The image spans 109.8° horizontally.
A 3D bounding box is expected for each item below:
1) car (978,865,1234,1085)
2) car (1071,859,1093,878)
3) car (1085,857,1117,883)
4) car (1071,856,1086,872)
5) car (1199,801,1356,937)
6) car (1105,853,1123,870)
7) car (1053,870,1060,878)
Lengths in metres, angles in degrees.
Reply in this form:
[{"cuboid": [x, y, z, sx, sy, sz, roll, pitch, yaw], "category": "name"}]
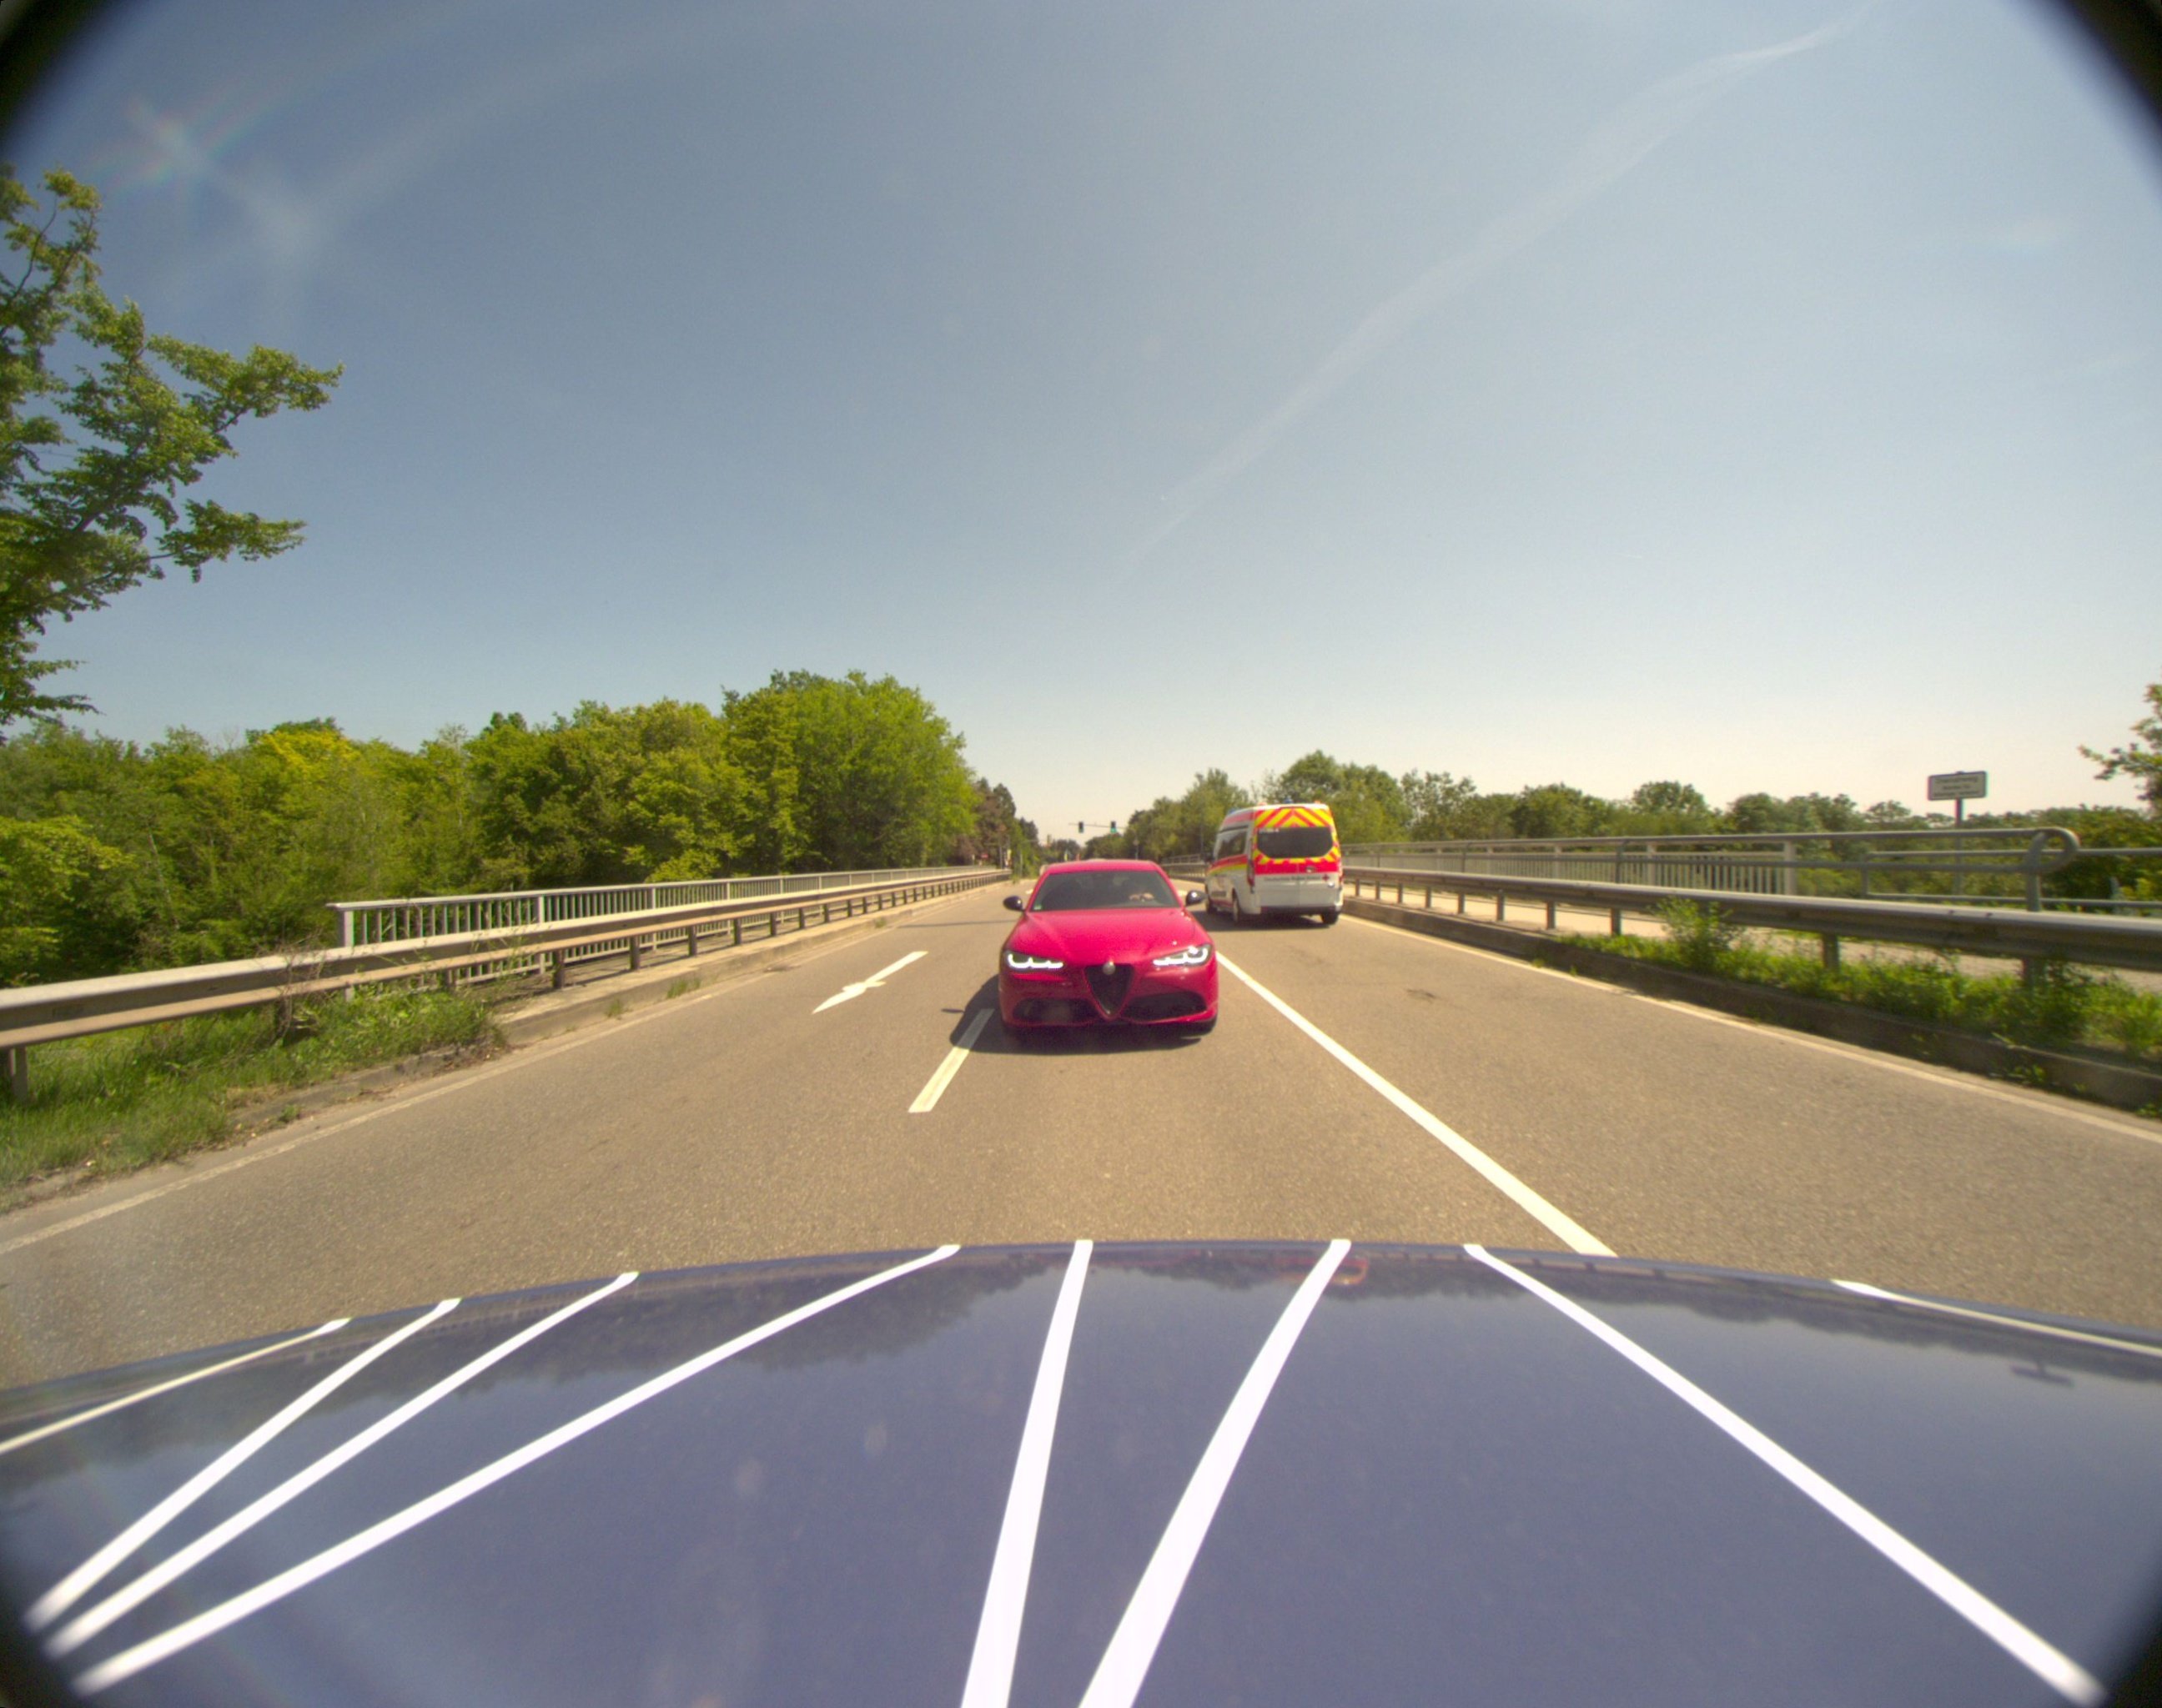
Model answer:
[{"cuboid": [0.212, 0.896, 7.578, 1.800, 1.448, 4.284, -1, 0, 1], "category": "car"}, {"cuboid": [0.097, 1.100, 58.407, 1.647, 1.373, 3.938, -1, 0, 1], "category": "car"}, {"cuboid": [1.193, 0.927, 45.731, 1.800, 1.448, 3.706, -1, 0, 2], "category": "car"}, {"cuboid": [-0.320, 1.123, 87.671, 1.633, 1.667, 3.489, -2, 1, 1], "category": "car"}, {"cuboid": [3.907, 0.257, 16.166, 1.995, 2.354, 5.181, -2, 0, 1], "category": "car"}, {"cuboid": [3.702, 0.812, 85.382, 1.848, 1.758, 4.000, -2, 0, 1], "category": "car"}, {"cuboid": [-5.084, 4.093, 158.650, 1.416, 1.499, 3.316, -1, 1, 0], "category": "car"}]
